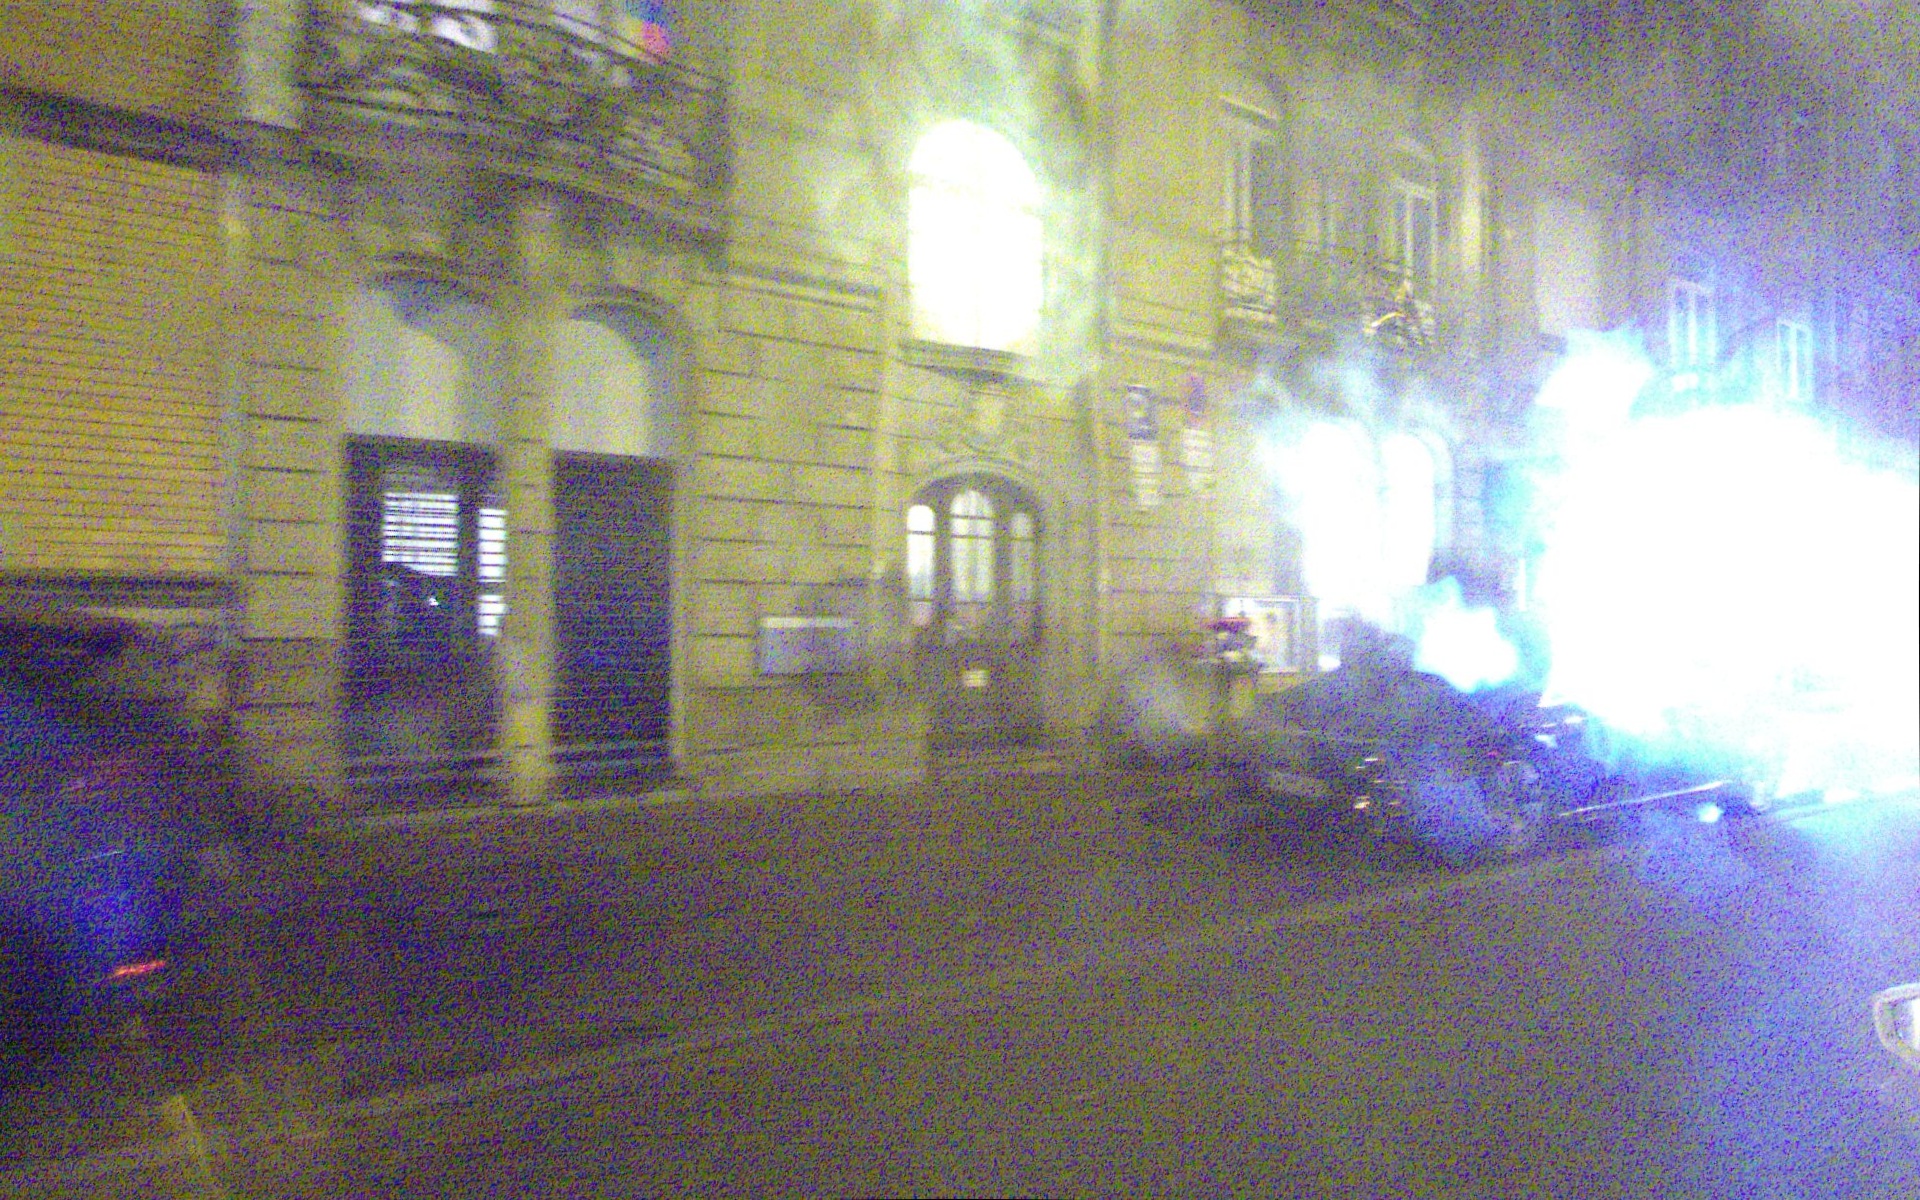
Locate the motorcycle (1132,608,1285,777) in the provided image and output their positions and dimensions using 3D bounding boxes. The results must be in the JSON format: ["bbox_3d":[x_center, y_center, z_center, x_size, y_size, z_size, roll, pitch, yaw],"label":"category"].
[{"bbox_3d":[2.353,0.827,9.471,1.441,1.490,0.534,1,0,-31],"label":"motorcycle"}]

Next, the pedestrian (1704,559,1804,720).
[{"bbox_3d":[11.672,0.570,14.767,1.104,2.270,0.795,1,-2,-31],"label":"pedestrian"}]

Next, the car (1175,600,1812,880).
[{"bbox_3d":[4.090,0.798,7.436,4.971,1.498,1.838,1,-1,-30],"label":"car"}]

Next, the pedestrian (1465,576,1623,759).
[{"bbox_3d":[6.464,0.714,11.119,1.399,1.888,0.951,1,-2,-31],"label":"pedestrian"}]

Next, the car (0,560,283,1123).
[{"bbox_3d":[-4.253,0.633,2.572,4.116,1.498,1.706,1,-1,-34],"label":"car"}]
